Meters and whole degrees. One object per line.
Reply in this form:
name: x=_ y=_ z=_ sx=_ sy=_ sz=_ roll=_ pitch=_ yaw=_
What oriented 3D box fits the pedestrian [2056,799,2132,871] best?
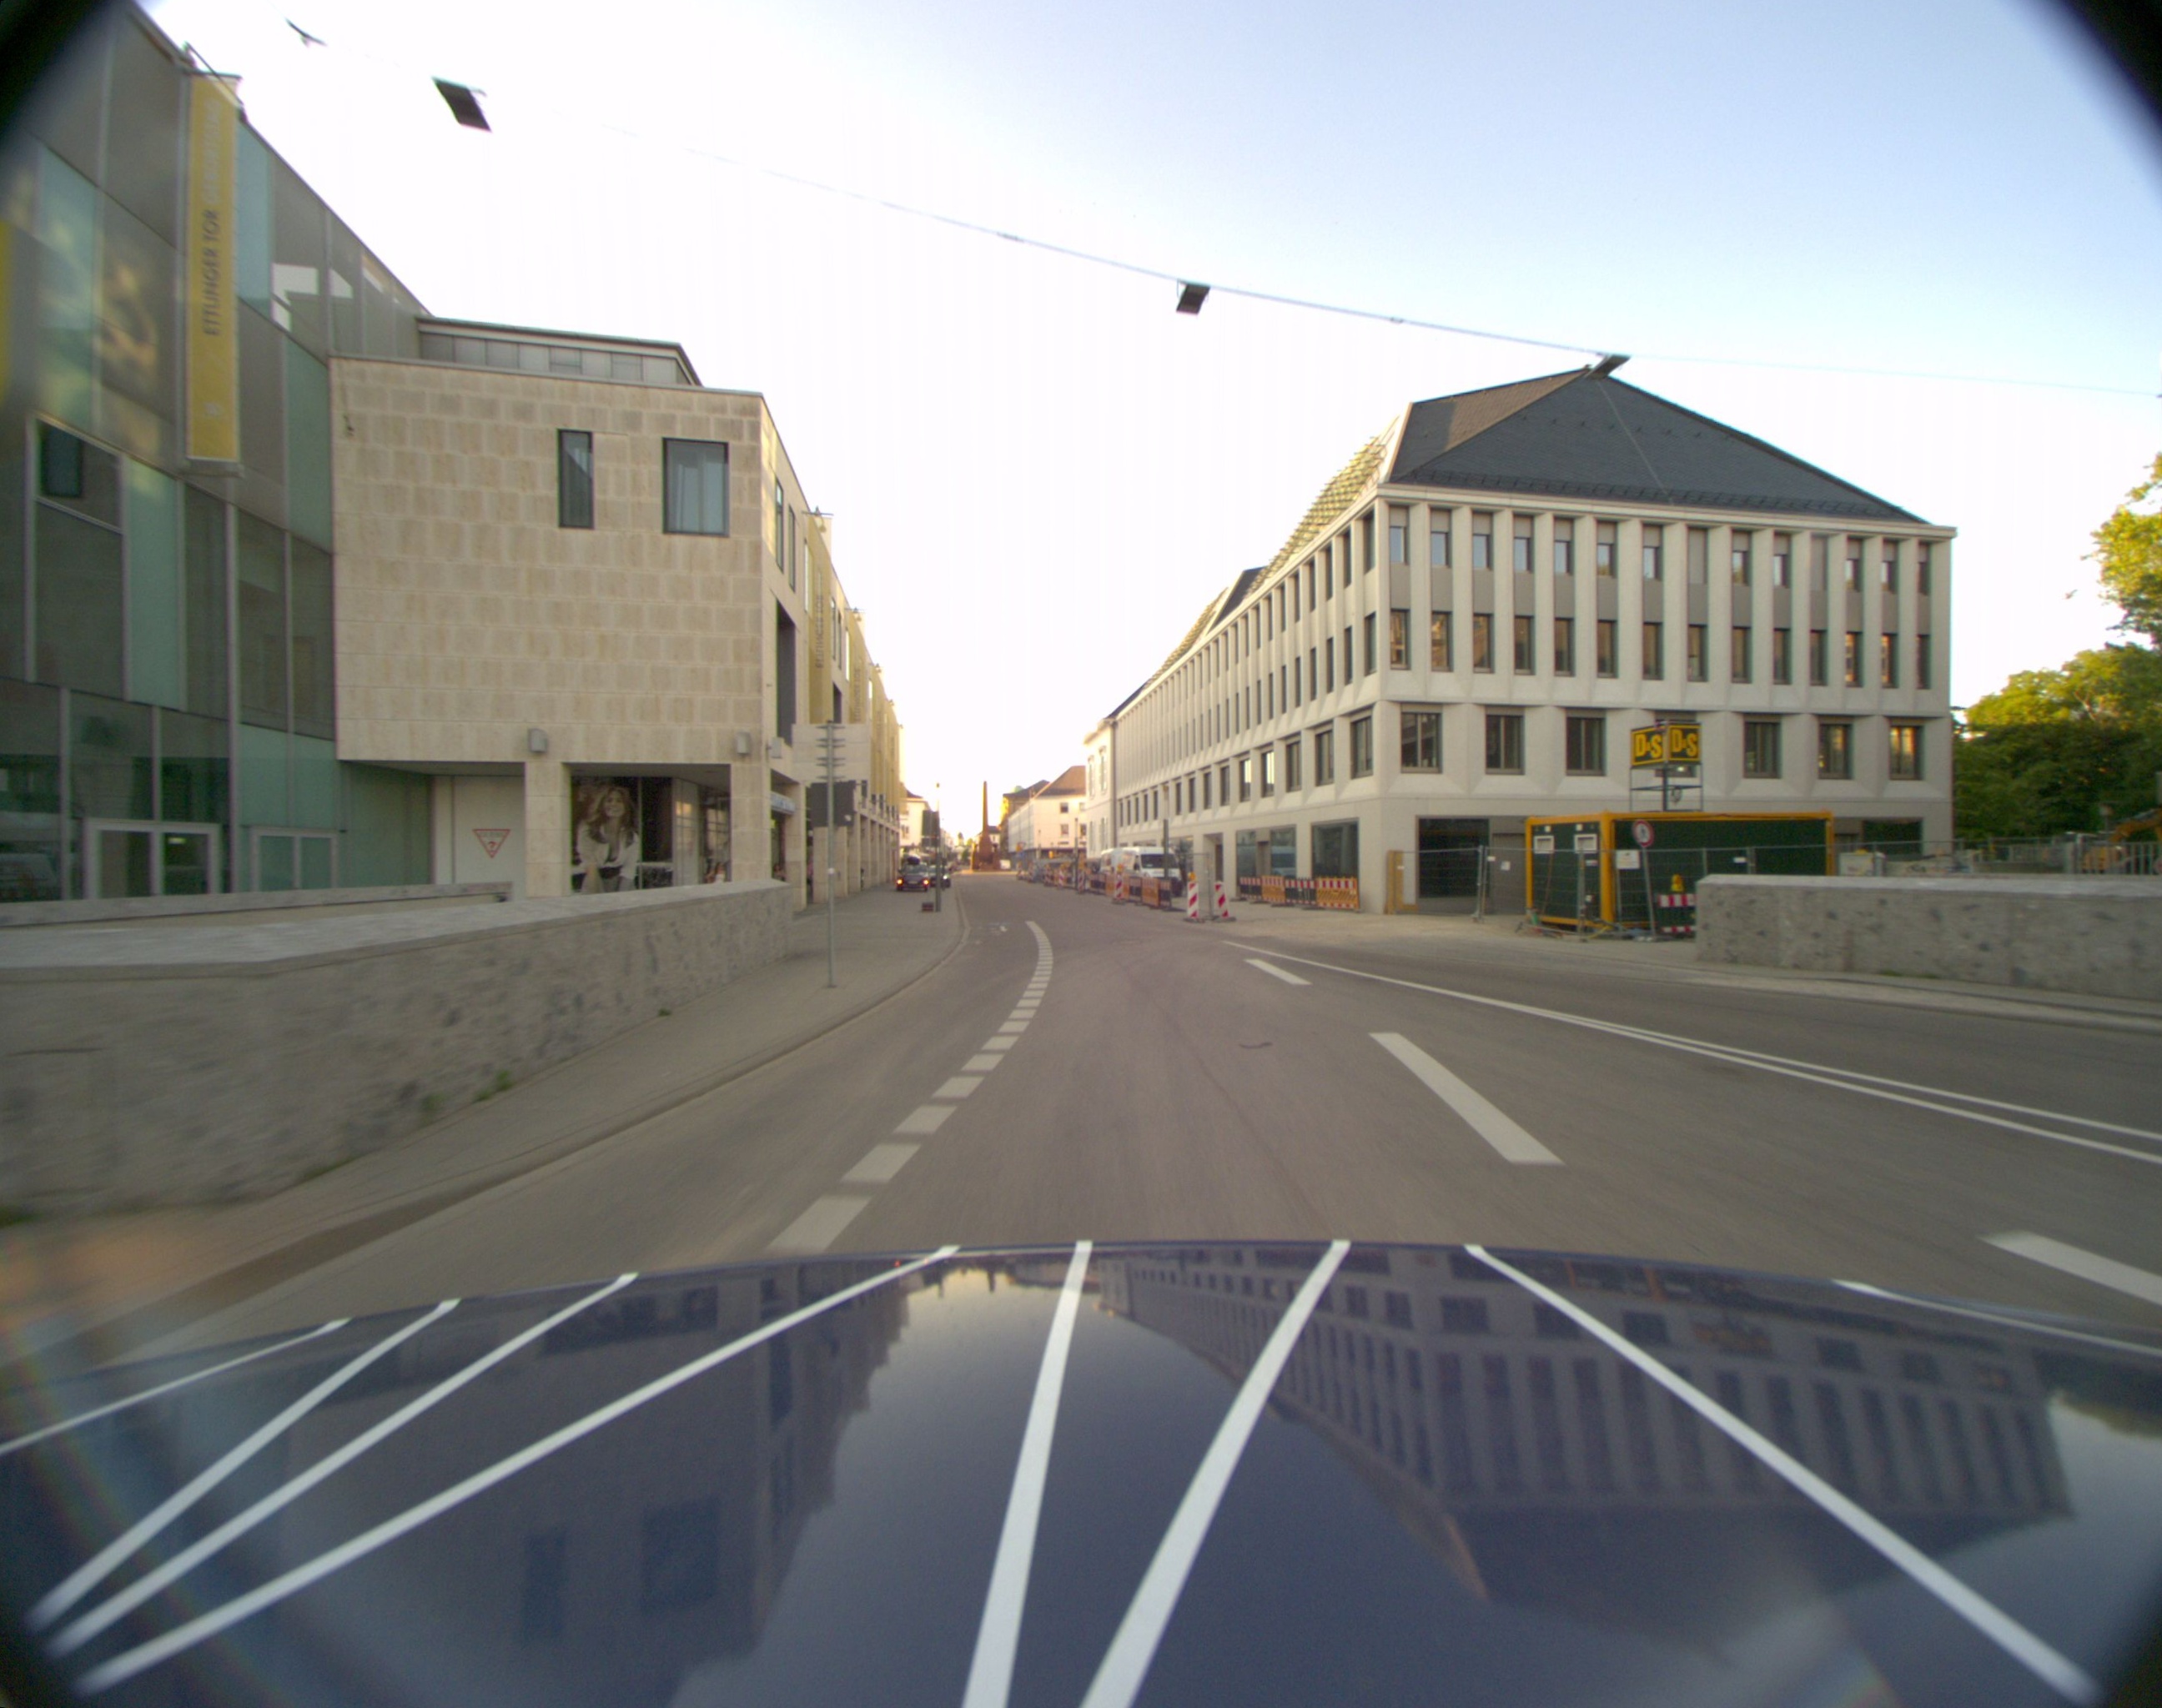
pedestrian: x=28.725 y=-0.524 z=21.561 sx=0.891 sy=2.002 sz=0.944 roll=0 pitch=0 yaw=-3

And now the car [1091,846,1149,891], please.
car: x=2.210 y=0.814 z=45.324 sx=2.181 sy=2.456 sz=5.994 roll=-1 pitch=0 yaw=-9

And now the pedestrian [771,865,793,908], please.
pedestrian: x=-11.074 y=1.198 z=28.169 sx=0.636 sy=1.558 sz=0.774 roll=0 pitch=-1 yaw=-10

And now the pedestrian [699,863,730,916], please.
pedestrian: x=-10.949 y=1.052 z=22.727 sx=0.636 sy=1.533 sz=0.774 roll=-1 pitch=0 yaw=-10

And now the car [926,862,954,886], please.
car: x=-9.766 y=1.378 z=52.926 sx=1.801 sy=1.481 sz=4.189 roll=3 pitch=0 yaw=-9

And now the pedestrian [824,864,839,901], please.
pedestrian: x=-11.604 y=1.315 z=35.345 sx=0.593 sy=1.688 sz=0.695 roll=0 pitch=0 yaw=-12

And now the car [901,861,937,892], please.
car: x=-9.453 y=1.256 z=44.547 sx=1.774 sy=1.628 sz=4.054 roll=3 pitch=0 yaw=-9

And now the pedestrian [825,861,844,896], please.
pedestrian: x=-11.961 y=1.197 z=36.931 sx=0.767 sy=1.671 sz=0.876 roll=0 pitch=-1 yaw=-10

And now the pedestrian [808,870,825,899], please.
pedestrian: x=-12.314 y=1.420 z=35.408 sx=0.636 sy=1.337 sz=0.774 roll=0 pitch=-1 yaw=-10

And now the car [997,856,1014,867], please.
car: x=-12.717 y=1.258 z=127.177 sx=2.023 sy=1.815 sz=4.454 roll=-1 pitch=0 yaw=-16

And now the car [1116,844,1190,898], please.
car: x=3.450 y=0.787 z=37.980 sx=2.181 sy=2.456 sz=5.994 roll=-1 pitch=0 yaw=-10

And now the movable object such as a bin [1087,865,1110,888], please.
movable object such as a bin: x=1.140 y=1.441 z=49.313 sx=1.048 sy=1.457 sz=1.391 roll=-1 pitch=0 yaw=-22
